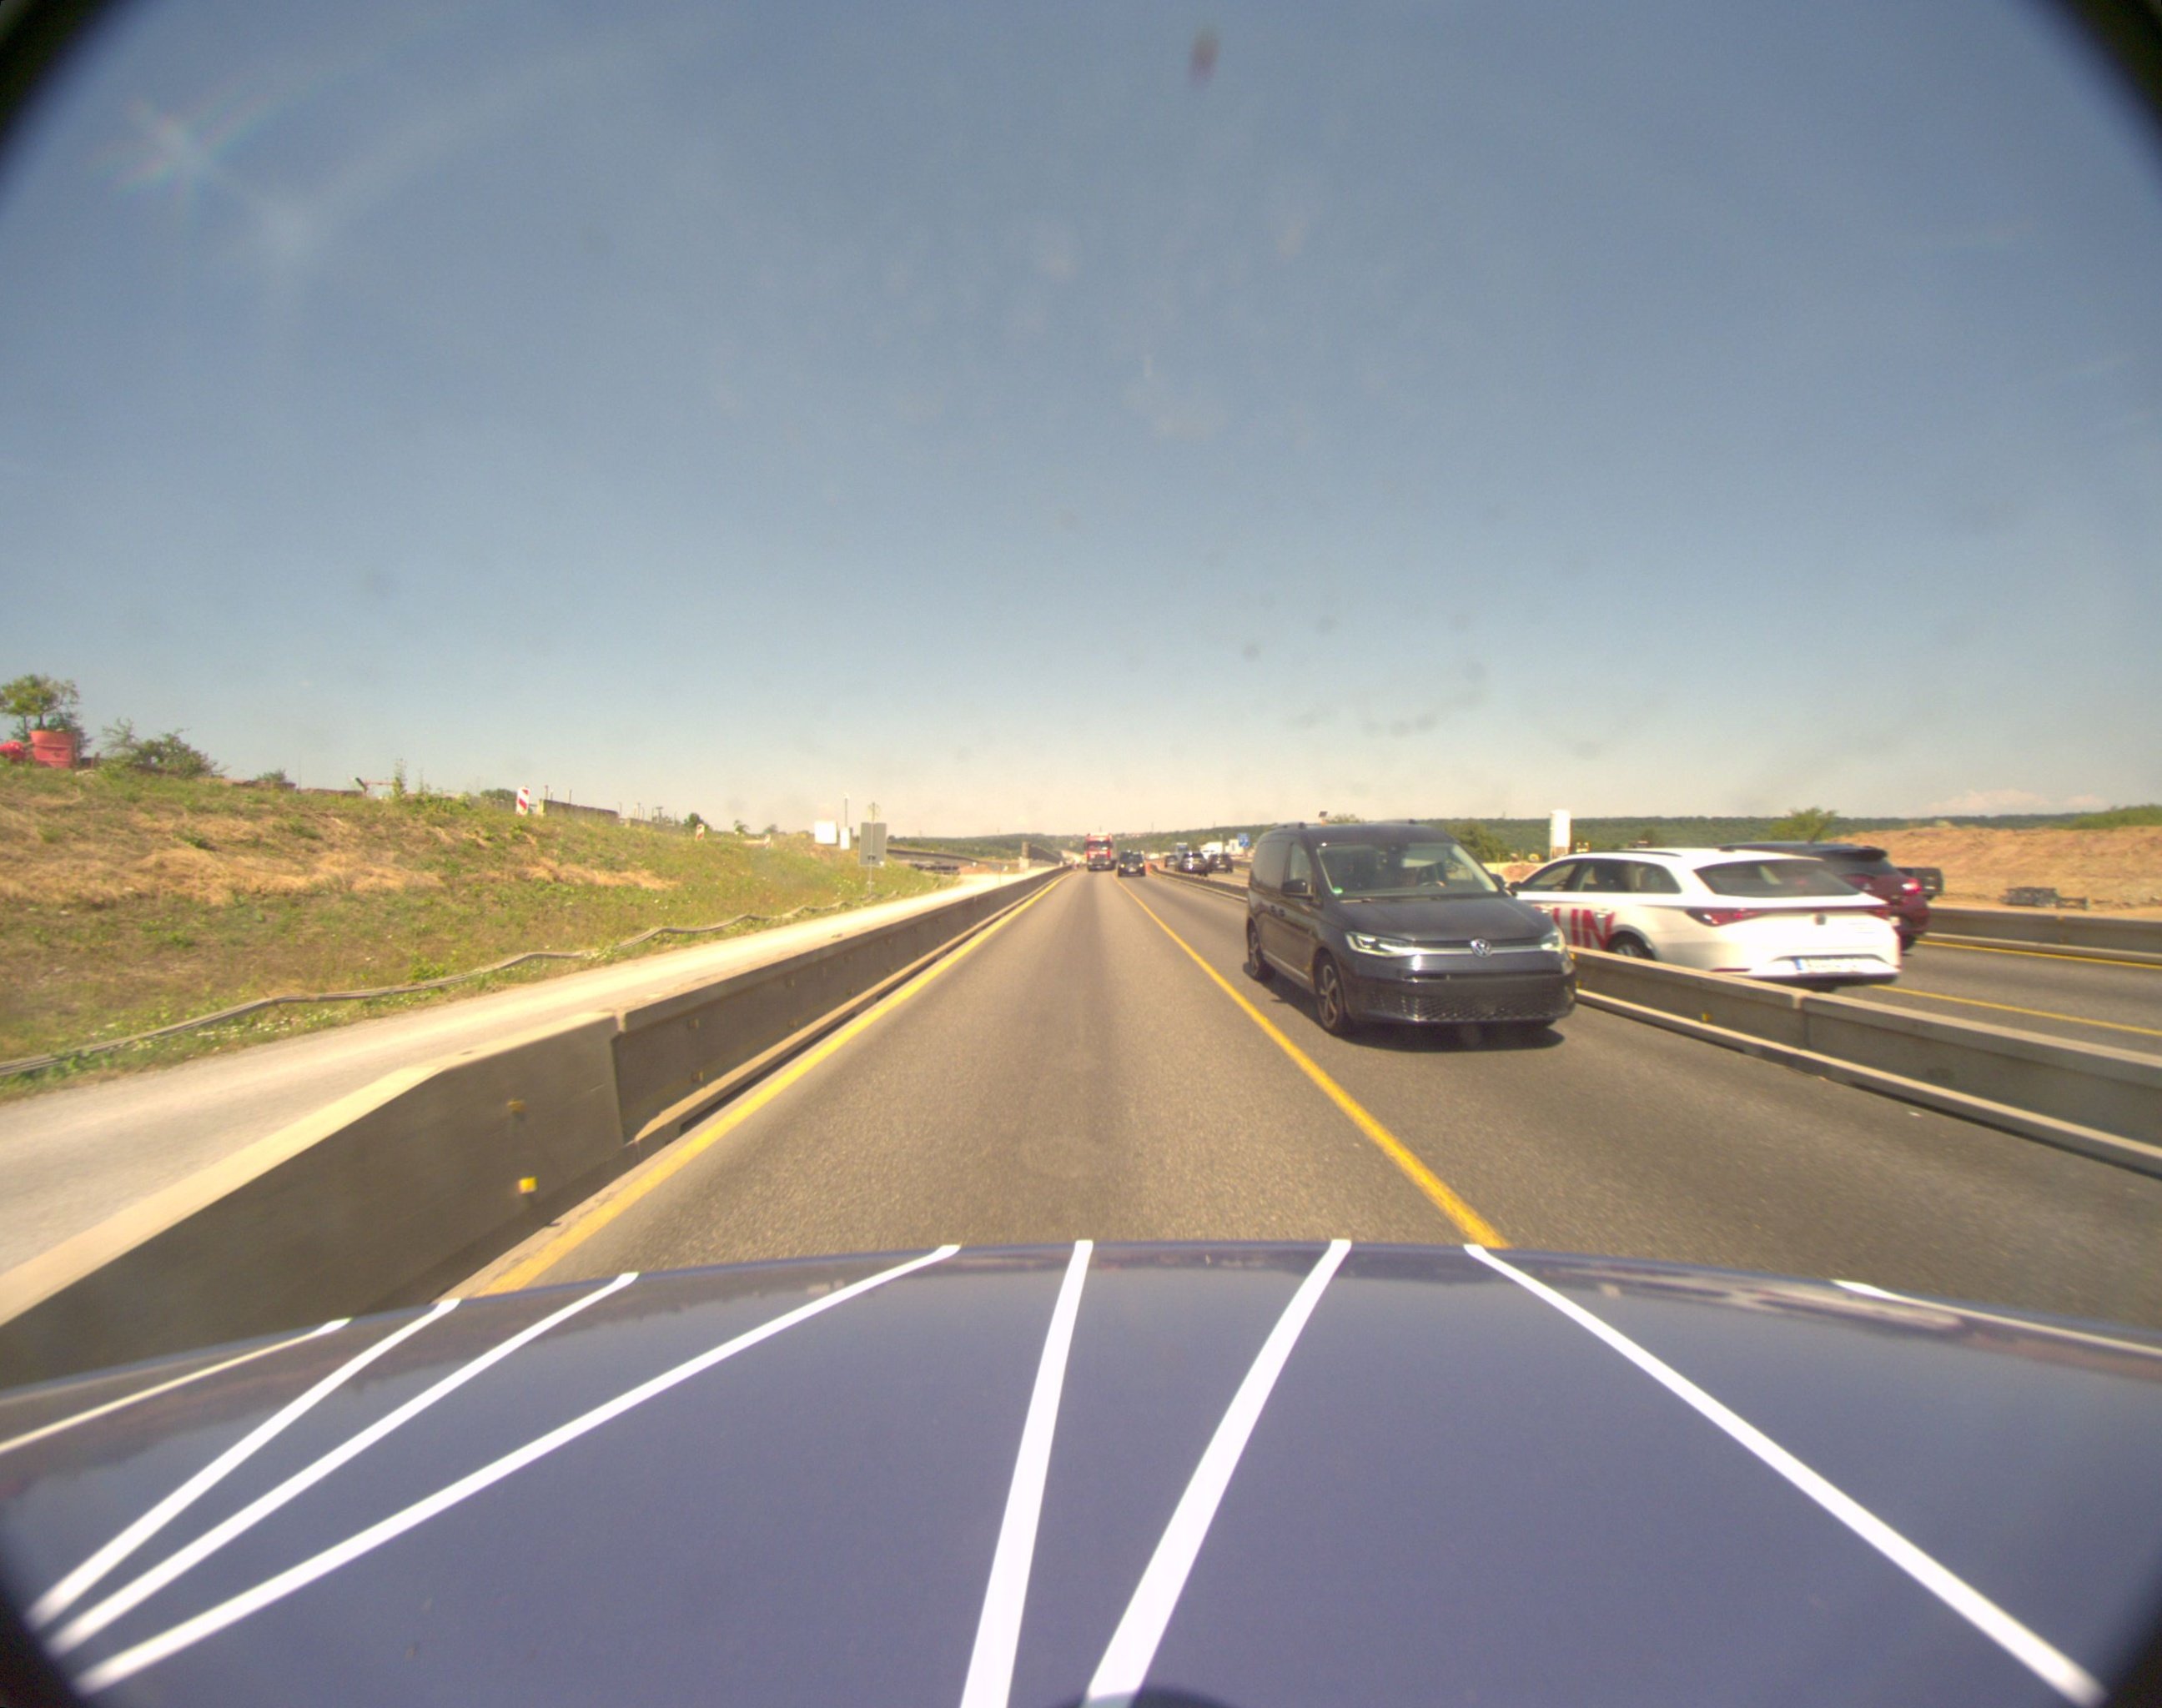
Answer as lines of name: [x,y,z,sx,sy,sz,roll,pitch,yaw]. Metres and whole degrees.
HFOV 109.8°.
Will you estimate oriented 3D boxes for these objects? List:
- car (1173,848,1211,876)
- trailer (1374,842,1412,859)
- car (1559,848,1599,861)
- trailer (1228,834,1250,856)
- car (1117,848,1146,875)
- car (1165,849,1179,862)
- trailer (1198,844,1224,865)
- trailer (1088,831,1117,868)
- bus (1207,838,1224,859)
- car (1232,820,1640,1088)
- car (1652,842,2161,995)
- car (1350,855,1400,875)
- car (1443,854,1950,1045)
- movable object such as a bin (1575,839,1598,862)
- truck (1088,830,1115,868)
car: [7.155,0.495,49.419,1.776,1.731,5.039,-1,0,1]
trailer: [56.352,-0.561,137.304,5.577,2.979,2.883,-1,0,0]
car: [58.216,0.047,88.910,1.616,1.401,4.446,-1,0,-1]
trailer: [30.597,-1.719,146.695,2.763,4.090,13.995,-1,0,17]
car: [3.601,0.514,54.544,1.799,1.776,4.000,-1,0,0]
car: [11.047,0.180,92.305,1.697,1.570,4.136,-1,0,7]
trailer: [12.918,0.055,75.737,2.135,1.970,5.236,0,0,4]
trailer: [2.584,-0.460,86.203,2.700,3.852,12.426,-1,0,4]
bus: [21.100,-0.868,119.232,2.353,3.107,7.233,-1,0,9]
car: [2.889,0.679,7.516,1.925,1.779,4.603,-2,0,1]
car: [9.743,0.630,9.631,1.729,1.470,4.393,-1,0,1]
car: [21.729,0.793,56.146,3.204,1.447,1.545,-1,0,-18]
car: [5.870,0.740,8.202,1.682,1.433,4.671,-1,0,0]
movable object such as a bin: [70.056,-0.473,105.283,1.995,3.122,4.493,-1,0,25]
truck: [2.230,-0.526,79.702,2.626,3.880,4.934,-1,0,4]
